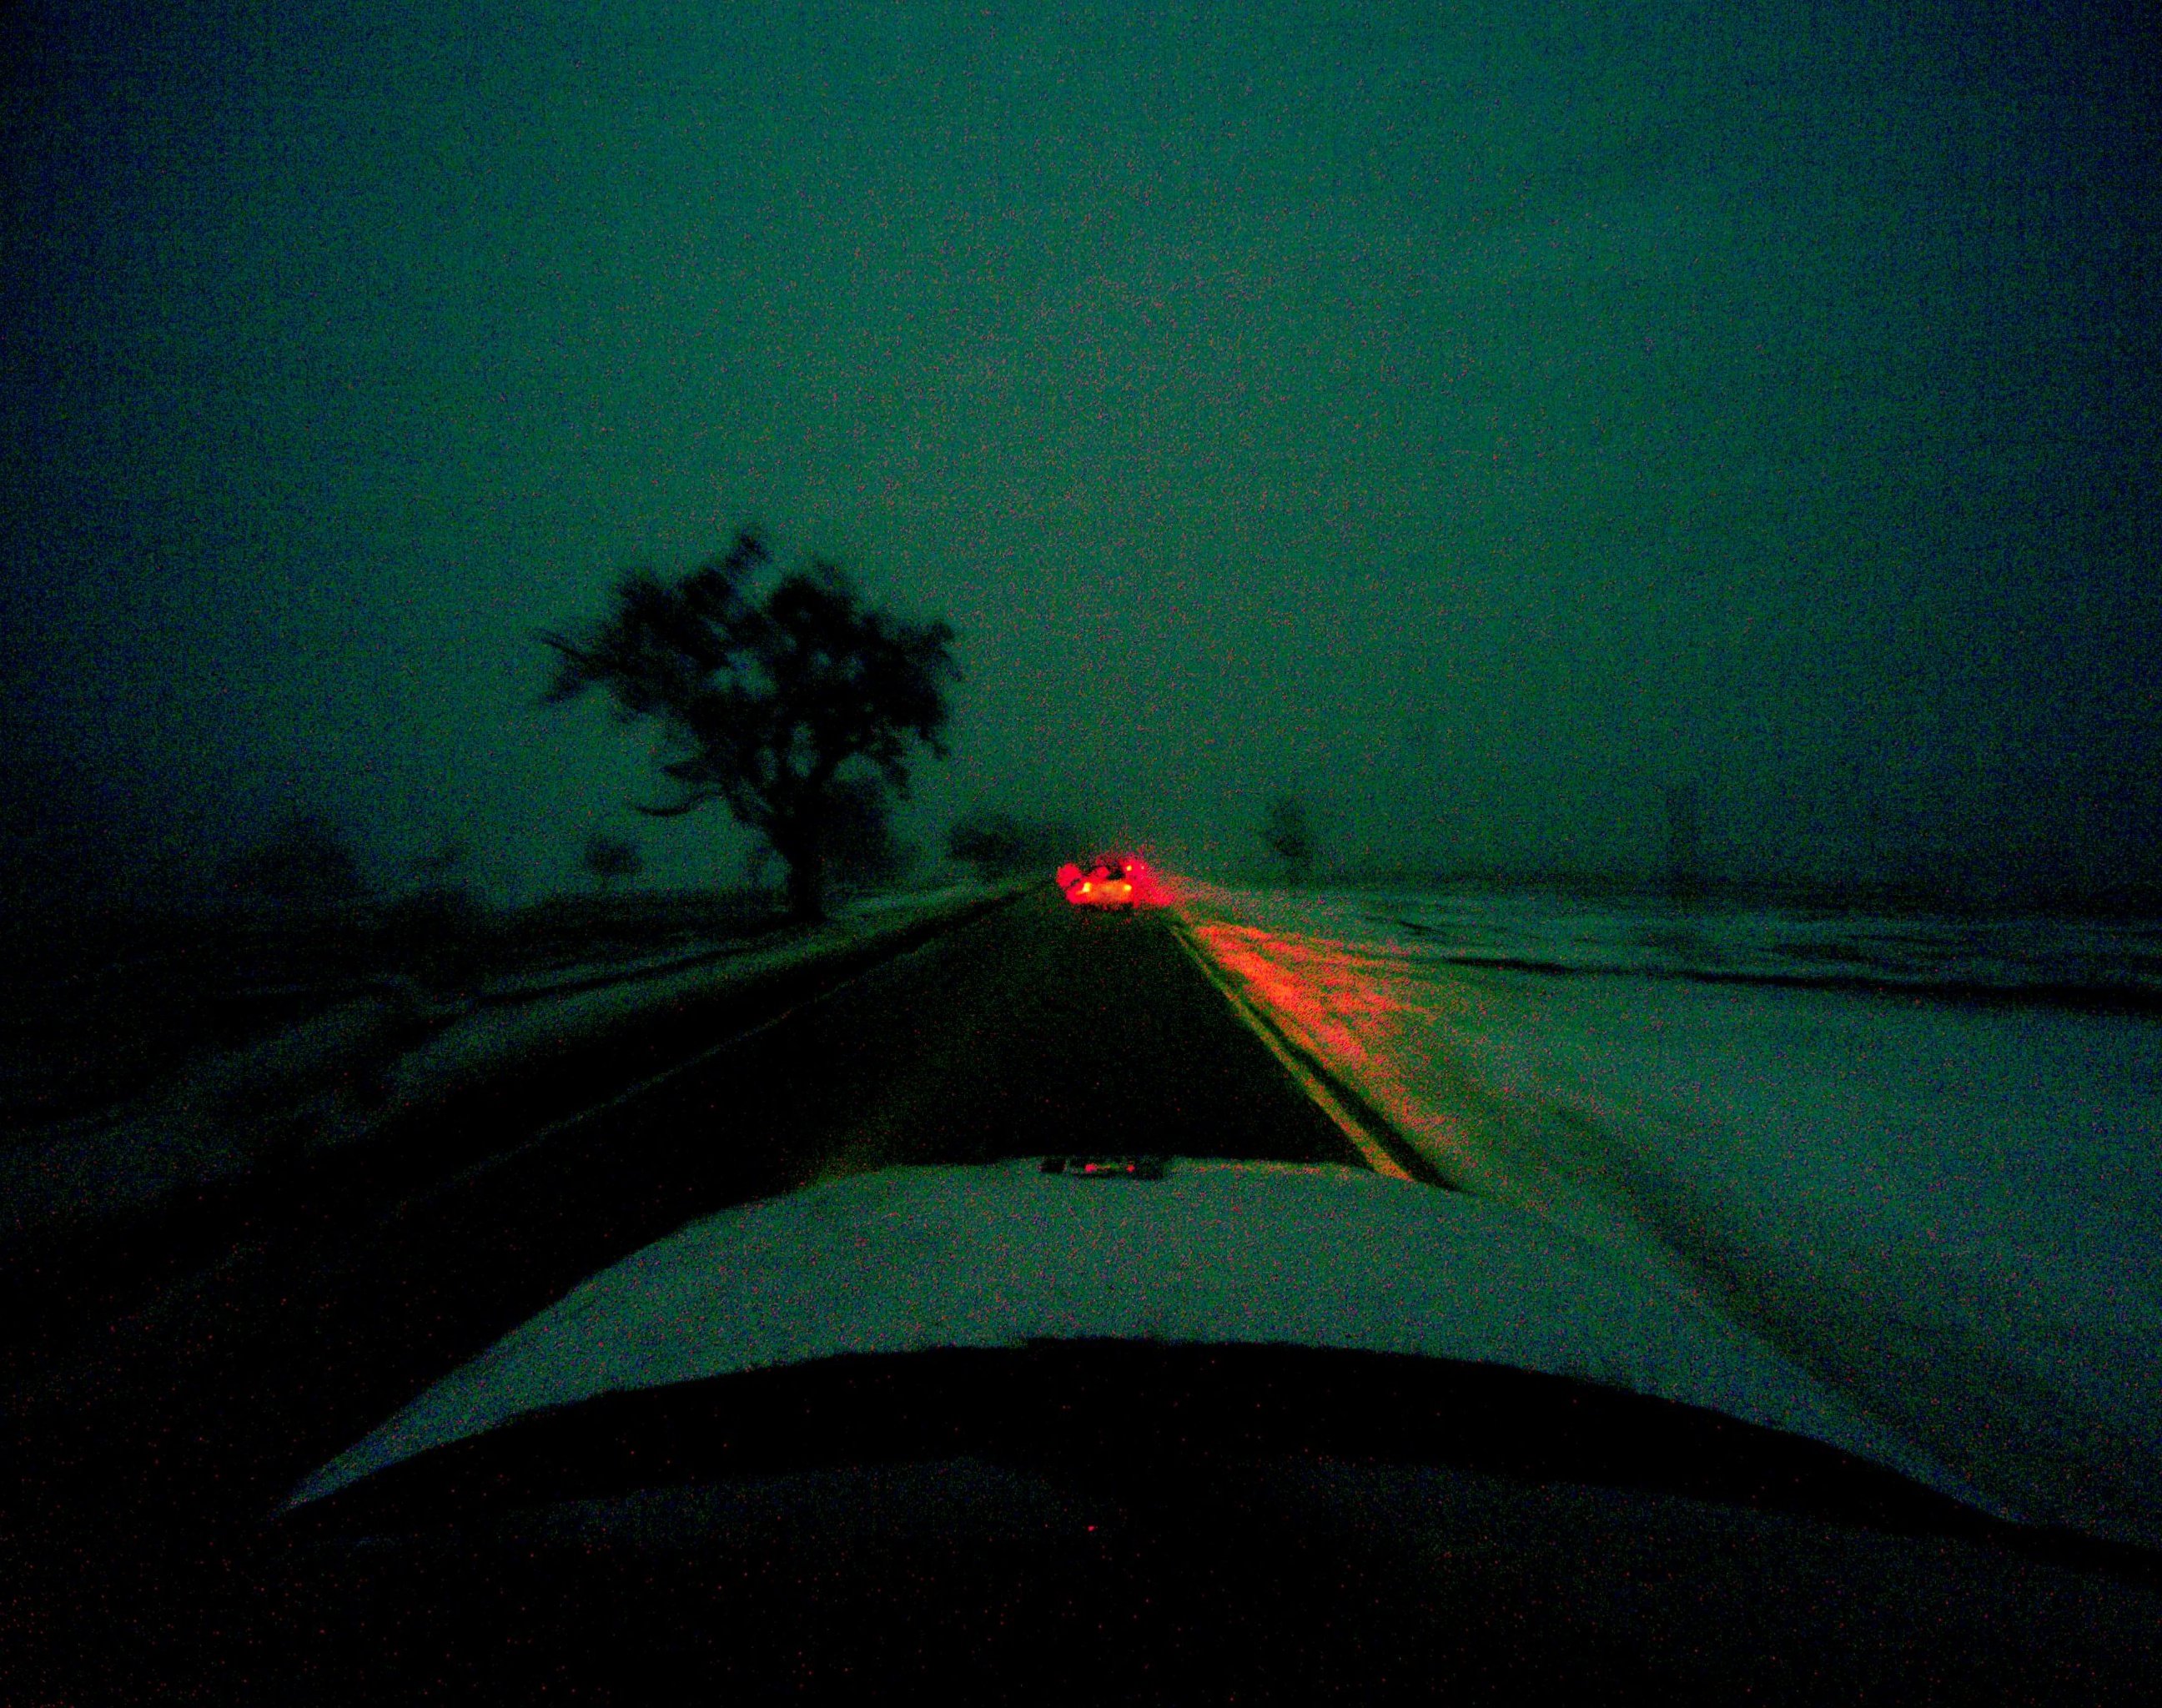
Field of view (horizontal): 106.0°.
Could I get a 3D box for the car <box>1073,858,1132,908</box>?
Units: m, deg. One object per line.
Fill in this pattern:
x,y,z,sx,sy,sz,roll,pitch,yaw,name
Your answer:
0.605,0.884,25.969,1.702,1.463,3.998,1,-1,-1,car
